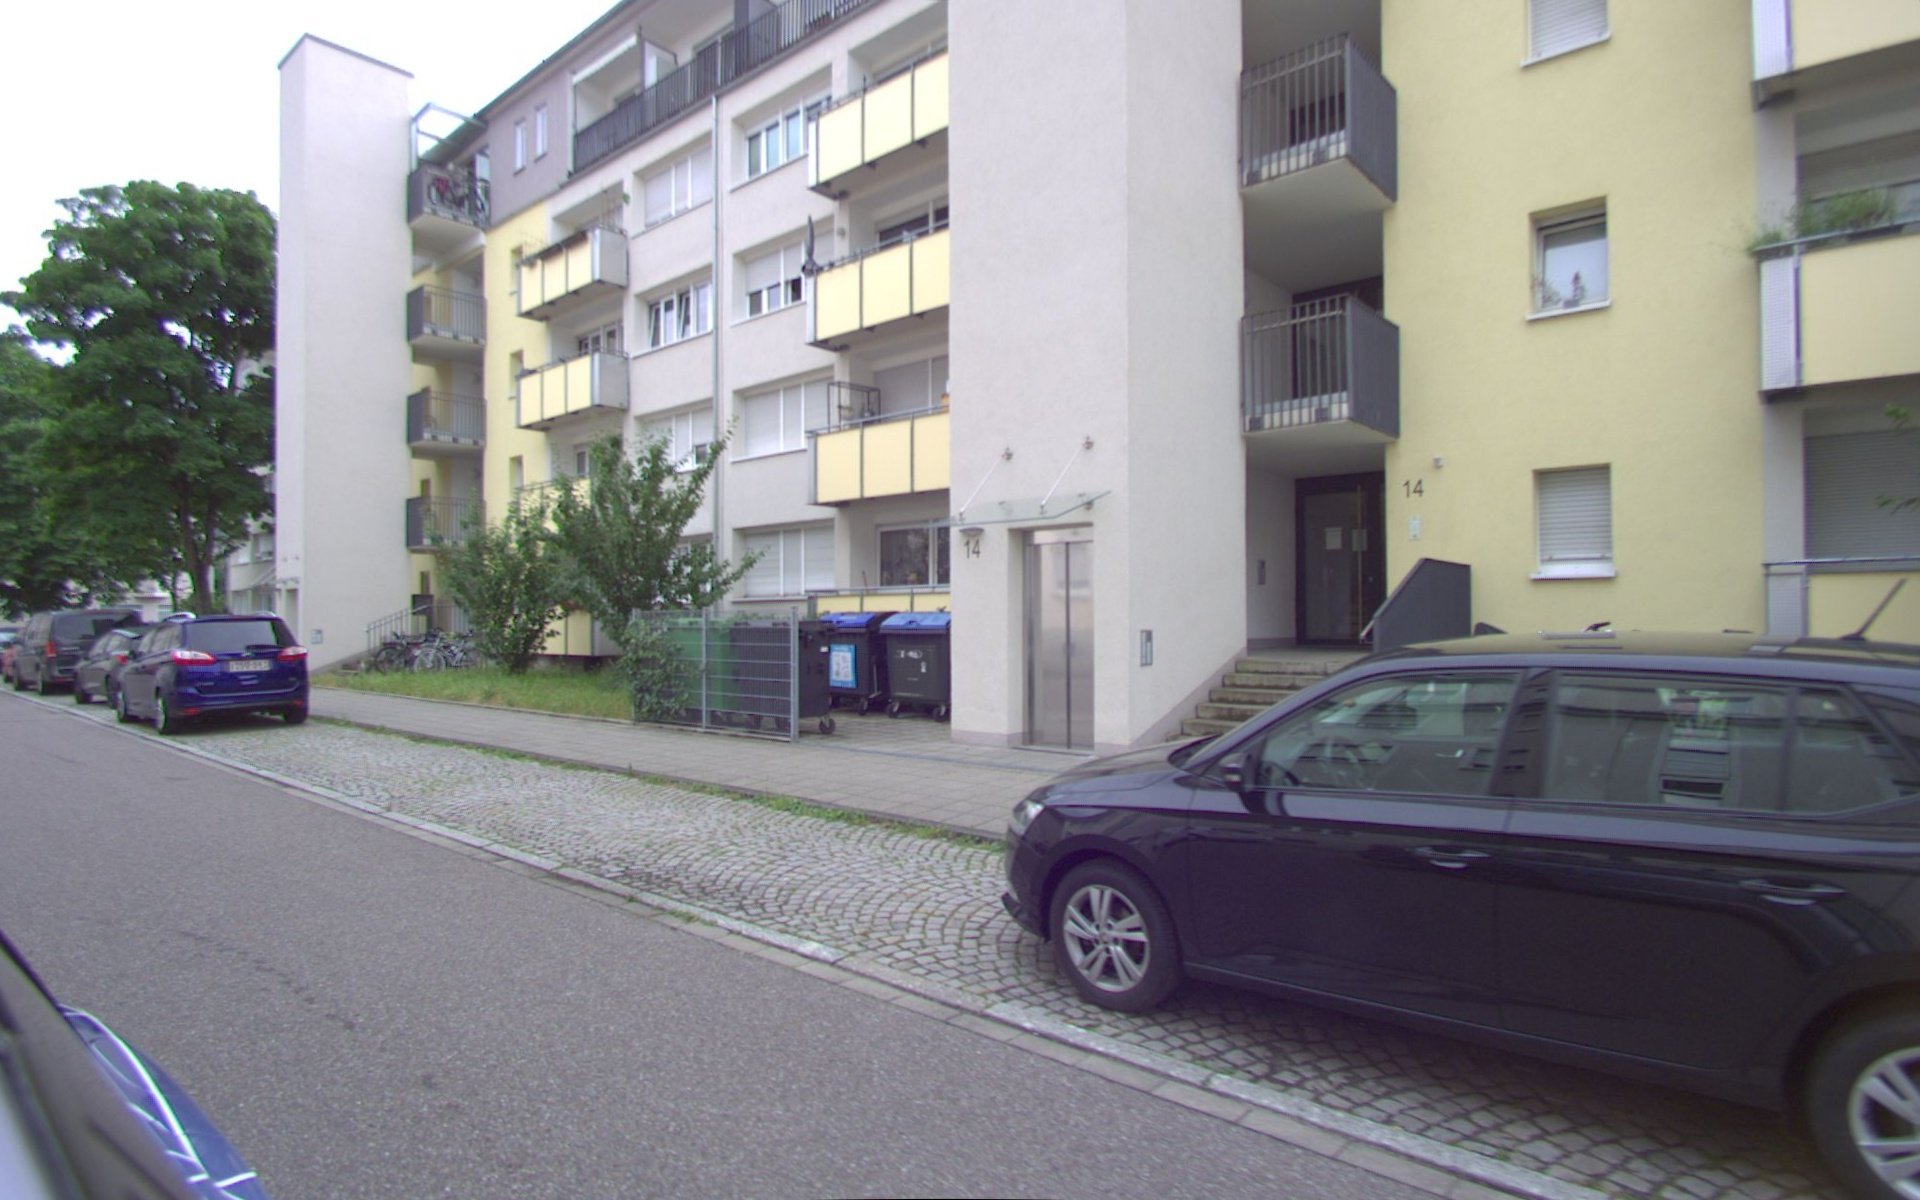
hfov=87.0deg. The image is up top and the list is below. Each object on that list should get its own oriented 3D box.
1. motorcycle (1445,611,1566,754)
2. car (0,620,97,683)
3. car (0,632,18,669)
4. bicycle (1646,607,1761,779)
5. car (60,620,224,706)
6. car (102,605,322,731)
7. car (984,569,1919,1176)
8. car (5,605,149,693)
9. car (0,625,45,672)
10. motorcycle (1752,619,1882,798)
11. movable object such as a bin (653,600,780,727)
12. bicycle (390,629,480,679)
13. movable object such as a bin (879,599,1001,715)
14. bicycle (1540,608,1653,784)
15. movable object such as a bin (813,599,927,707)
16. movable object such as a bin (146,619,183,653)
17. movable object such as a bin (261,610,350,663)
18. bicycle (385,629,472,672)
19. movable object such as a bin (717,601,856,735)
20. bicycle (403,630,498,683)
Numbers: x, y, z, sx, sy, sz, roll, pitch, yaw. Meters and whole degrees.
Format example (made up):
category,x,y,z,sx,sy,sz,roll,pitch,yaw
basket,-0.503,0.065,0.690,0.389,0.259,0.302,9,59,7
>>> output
category,x,y,z,sx,sy,sz,roll,pitch,yaw
motorcycle,4.832,0.682,8.919,0.689,1.138,1.600,-2,-2,37
car,-24.711,1.359,27.284,3.610,1.580,1.604,-2,-2,40
car,-36.182,1.876,37.272,4.208,1.274,1.743,-2,1,41
bicycle,5.607,0.633,7.649,0.608,1.151,1.707,-2,-1,36
car,-15.890,1.158,19.607,3.813,1.456,1.606,-2,0,38
car,-11.591,0.955,15.566,4.469,1.639,1.781,-2,0,41
car,2.103,0.659,3.687,3.854,1.449,1.626,-1,1,41
car,-20.782,1.102,23.748,4.782,1.869,1.867,-2,-1,40
car,-32.191,1.609,33.696,4.430,1.450,1.895,-2,1,40
motorcycle,6.137,0.711,7.316,0.593,1.138,1.732,-2,-2,37
movable object such as a bin,-3.108,0.766,12.906,1.314,1.512,0.991,-1,0,41
bicycle,-12.781,1.289,24.666,1.830,1.146,0.717,1,-2,-42
movable object such as a bin,-0.273,0.735,13.622,1.314,1.458,0.991,-1,0,41
bicycle,5.046,0.689,7.980,0.608,1.234,1.707,-2,-2,36
movable object such as a bin,-1.301,0.737,14.613,1.314,1.458,0.991,-1,0,41
movable object such as a bin,-35.482,1.613,45.157,0.889,1.487,1.168,-2,-2,44
movable object such as a bin,-19.920,1.104,30.798,2.539,1.535,1.597,-1,-2,40
bicycle,-13.231,1.239,25.221,1.830,1.028,0.671,1,-2,-42
movable object such as a bin,-2.052,0.761,11.933,1.314,1.458,0.991,-1,0,41
bicycle,-11.766,1.277,23.410,0.715,1.146,1.834,-2,-2,38
